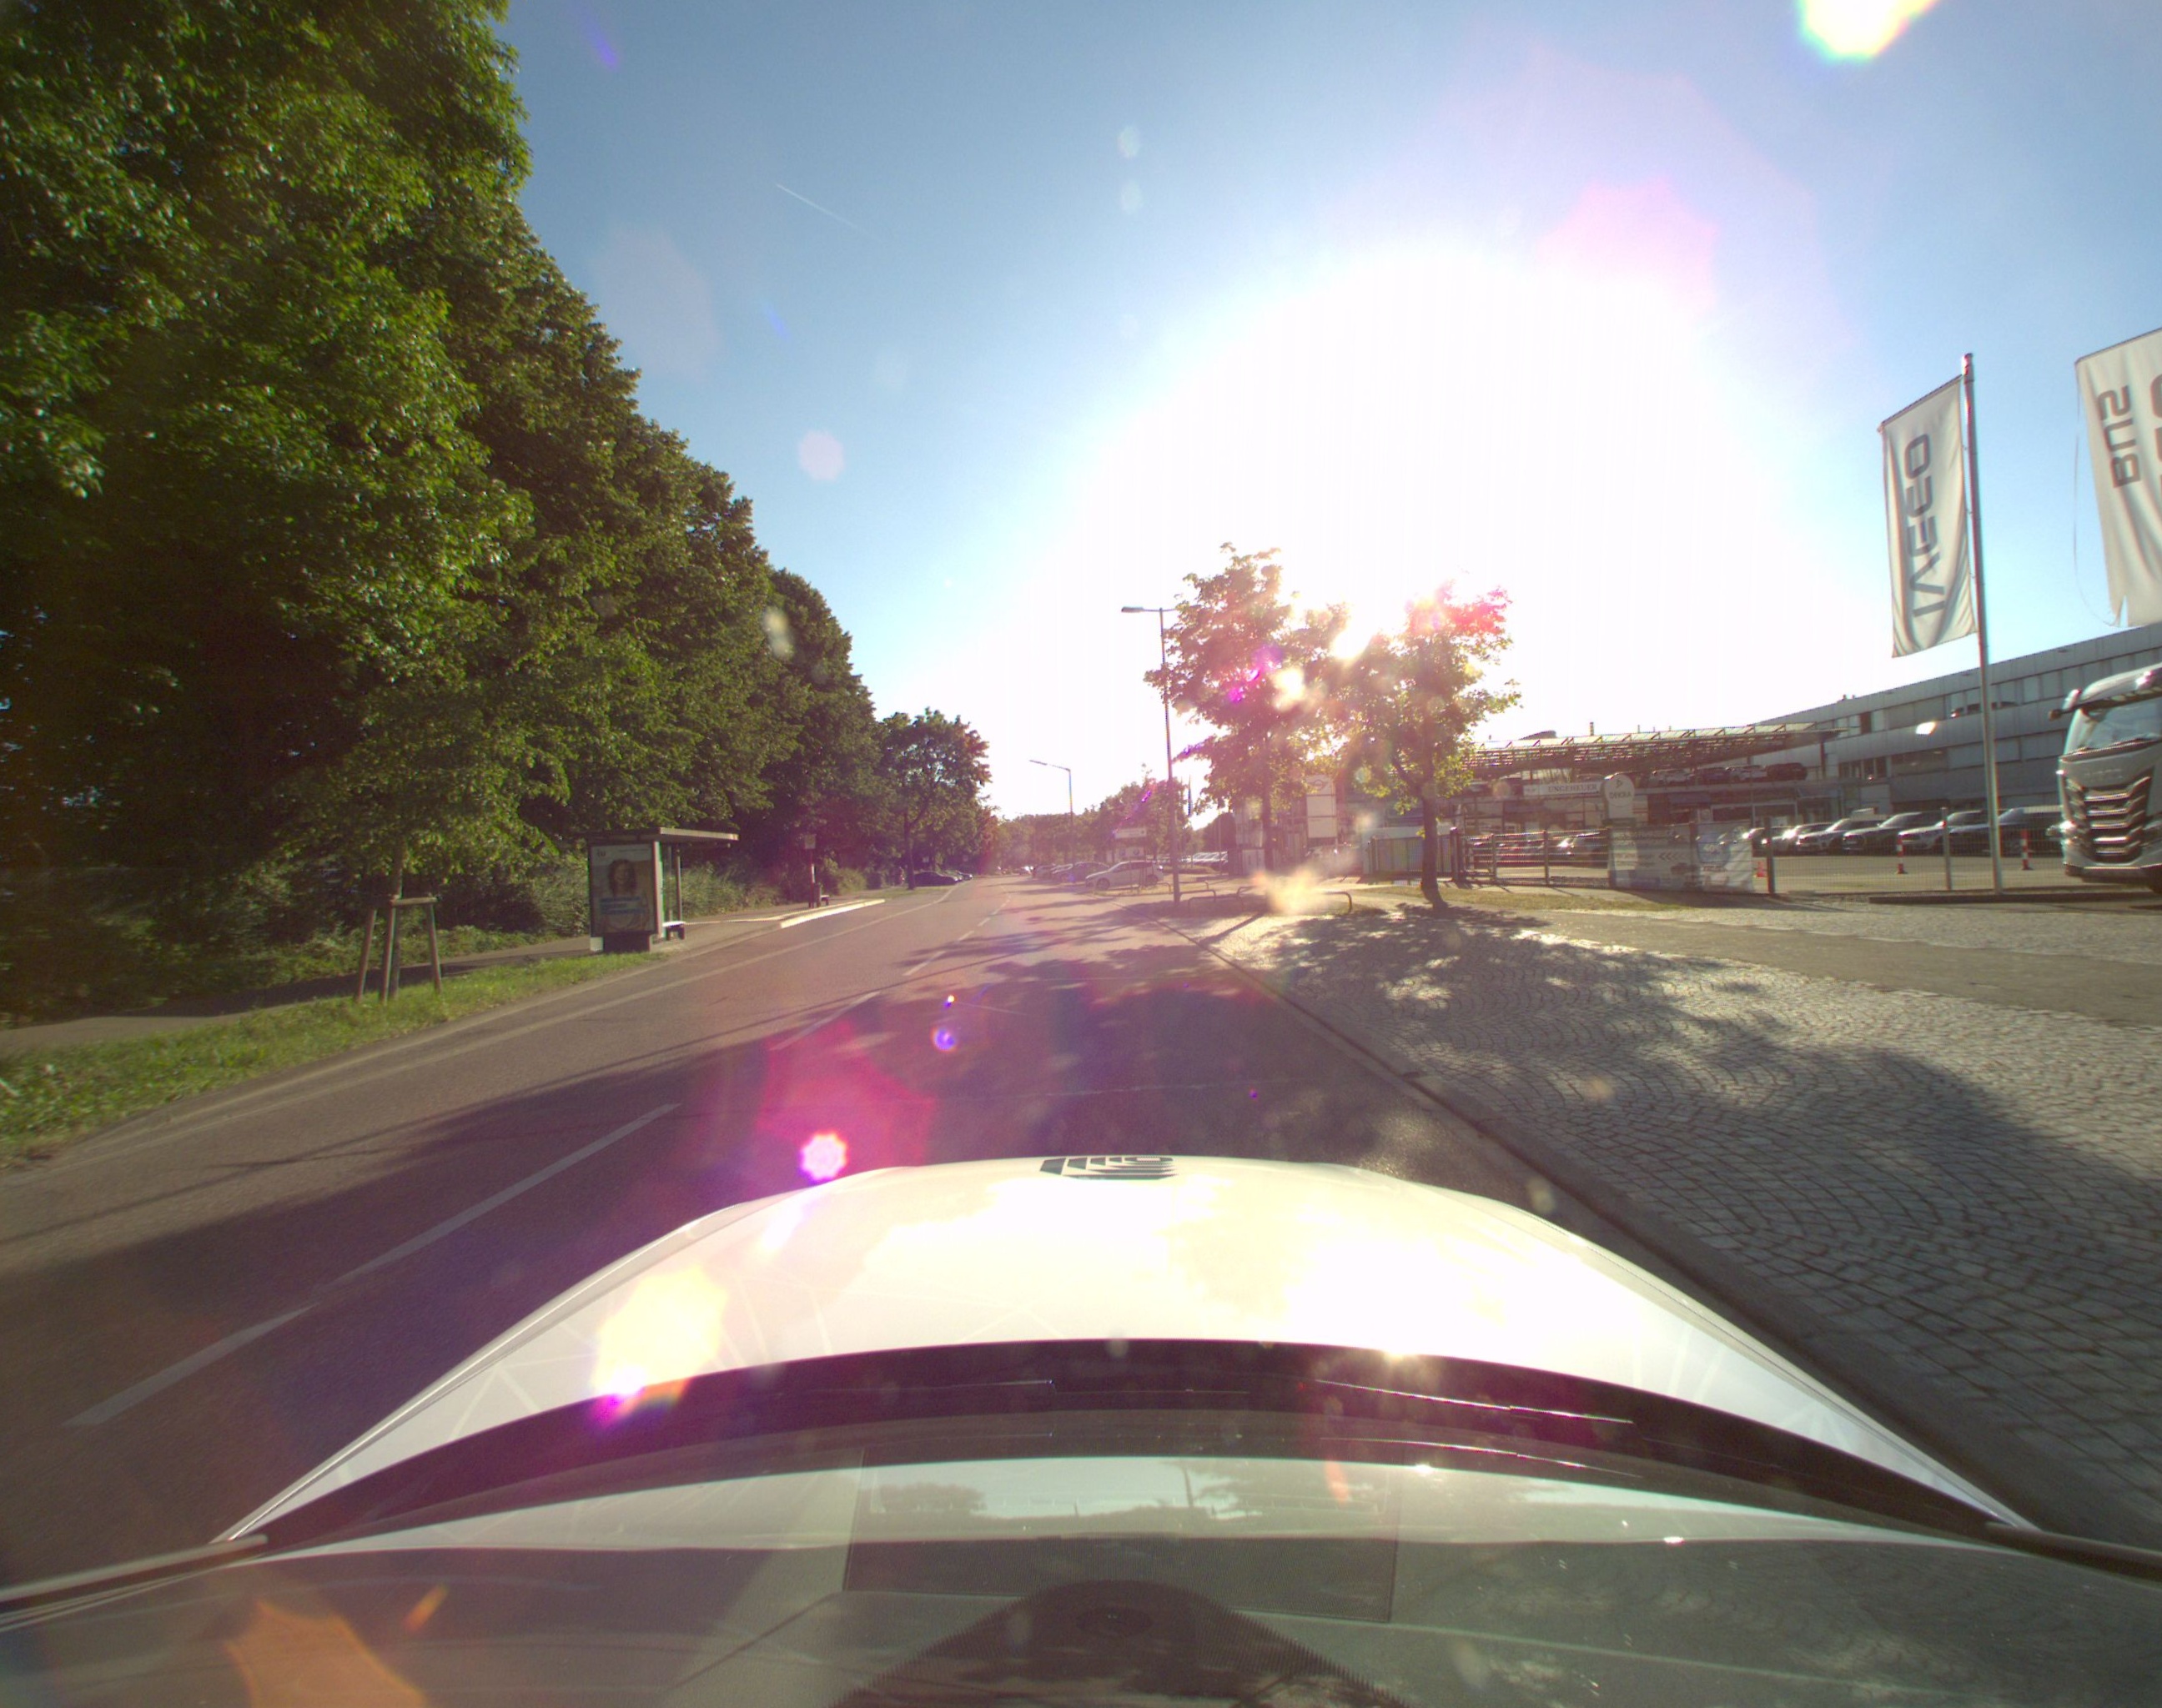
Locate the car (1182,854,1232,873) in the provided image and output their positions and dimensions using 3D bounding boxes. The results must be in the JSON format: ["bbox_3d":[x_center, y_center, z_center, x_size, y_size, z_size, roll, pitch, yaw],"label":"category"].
[{"bbox_3d":[12.298,0.936,79.283,4.622,1.574,1.979,-3,-1,-33],"label":"car"}]

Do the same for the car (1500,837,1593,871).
[{"bbox_3d":[25.614,0.030,44.946,3.959,1.579,2.007,-3,-4,13],"label":"car"}]

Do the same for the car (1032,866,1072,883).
[{"bbox_3d":[-3.461,2.476,97.800,4.682,1.751,2.190,-3,-1,-2],"label":"car"}]

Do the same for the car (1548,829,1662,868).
[{"bbox_3d":[24.143,-0.238,37.676,3.962,1.530,1.930,-3,-1,10],"label":"car"}]

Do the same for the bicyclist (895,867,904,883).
[{"bbox_3d":[-18.258,2.127,81.936,0.730,1.530,0.949,-3,-1,-6],"label":"bicyclist"}]

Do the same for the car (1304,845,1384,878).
[{"bbox_3d":[14.527,0.443,45.204,3.959,1.578,2.007,-3,-1,13],"label":"car"}]

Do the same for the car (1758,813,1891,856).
[{"bbox_3d":[33.565,-0.850,36.887,3.959,1.579,1.911,-3,-4,13],"label":"car"}]

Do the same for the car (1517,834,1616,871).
[{"bbox_3d":[25.311,-0.040,42.620,3.959,1.579,2.007,-3,-4,13],"label":"car"}]

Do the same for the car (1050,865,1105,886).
[{"bbox_3d":[-0.327,1.881,71.583,4.620,1.456,1.995,-4,-1,-7],"label":"car"}]

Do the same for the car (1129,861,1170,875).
[{"bbox_3d":[8.765,1.778,104.291,4.727,1.464,2.013,-4,-2,35],"label":"car"}]

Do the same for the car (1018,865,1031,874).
[{"bbox_3d":[-10.844,2.932,156.718,1.987,1.717,4.000,-2,-1,1],"label":"car"}]

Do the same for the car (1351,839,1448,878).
[{"bbox_3d":[14.922,0.236,38.349,3.959,1.578,2.007,-3,-1,13],"label":"car"}]

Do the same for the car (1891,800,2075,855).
[{"bbox_3d":[32.661,-0.923,29.634,3.959,1.579,2.007,-3,-4,13],"label":"car"}]

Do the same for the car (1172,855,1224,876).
[{"bbox_3d":[11.837,1.132,82.357,4.747,1.690,2.386,-4,-1,-33],"label":"car"}]

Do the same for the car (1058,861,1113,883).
[{"bbox_3d":[0.339,1.530,68.725,4.372,1.479,1.995,-4,-1,-7],"label":"car"}]

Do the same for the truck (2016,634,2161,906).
[{"bbox_3d":[18.184,-1.332,9.941,8.147,3.522,3.135,-4,-1,30],"label":"truck"}]

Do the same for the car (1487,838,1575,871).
[{"bbox_3d":[25.993,0.039,47.150,3.959,1.579,2.007,-3,-4,13],"label":"car"}]

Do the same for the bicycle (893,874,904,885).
[{"bbox_3d":[-18.397,2.598,82.178,0.764,1.039,2.212,-3,-1,-6],"label":"bicycle"}]

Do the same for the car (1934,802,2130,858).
[{"bbox_3d":[32.091,-0.814,27.615,3.959,1.578,1.855,-3,1,13],"label":"car"}]

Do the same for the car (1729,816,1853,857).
[{"bbox_3d":[34.045,-0.823,39.171,3.959,1.579,1.911,-3,-4,13],"label":"car"}]

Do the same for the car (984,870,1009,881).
[{"bbox_3d":[-18.232,4.693,176.327,4.987,2.020,2.175,-3,-1,1],"label":"car"}]

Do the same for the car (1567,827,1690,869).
[{"bbox_3d":[23.684,-0.253,35.374,3.962,1.530,1.930,-3,-1,10],"label":"car"}]

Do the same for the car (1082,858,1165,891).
[{"bbox_3d":[2.305,1.122,44.680,4.196,1.444,2.082,-4,-1,-8],"label":"car"}]

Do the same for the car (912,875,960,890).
[{"bbox_3d":[-14.357,2.803,80.899,4.646,1.422,1.911,-1,-1,-9],"label":"car"}]

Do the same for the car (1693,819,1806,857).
[{"bbox_3d":[34.320,-0.803,41.936,3.959,1.579,1.911,-3,-4,13],"label":"car"}]

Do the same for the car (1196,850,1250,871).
[{"bbox_3d":[12.826,0.572,73.301,4.623,1.574,1.979,-3,-1,-33],"label":"car"}]

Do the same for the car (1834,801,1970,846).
[{"bbox_3d":[38.063,-1.379,37.876,3.963,1.741,2.005,-3,-1,9],"label":"car"}]

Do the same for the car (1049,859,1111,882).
[{"bbox_3d":[-0.085,1.303,64.608,4.590,1.584,1.993,-3,-1,-9],"label":"car"}]

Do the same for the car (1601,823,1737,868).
[{"bbox_3d":[23.724,-0.316,32.992,3.962,1.530,1.930,-3,-1,10],"label":"car"}]

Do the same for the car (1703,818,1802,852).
[{"bbox_3d":[39.632,-1.100,48.137,3.963,1.741,2.005,-3,-1,9],"label":"car"}]

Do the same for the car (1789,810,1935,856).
[{"bbox_3d":[33.124,-0.873,34.664,3.959,1.579,1.911,-3,-4,13],"label":"car"}]

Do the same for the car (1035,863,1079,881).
[{"bbox_3d":[-2.675,1.968,90.174,4.690,1.478,1.996,-4,4,-7],"label":"car"}]

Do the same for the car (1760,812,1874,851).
[{"bbox_3d":[38.874,-1.167,43.128,3.963,1.741,2.005,-3,-1,9],"label":"car"}]

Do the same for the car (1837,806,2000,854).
[{"bbox_3d":[32.802,-0.917,32.029,3.959,1.578,2.007,-3,-1,13],"label":"car"}]

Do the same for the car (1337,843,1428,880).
[{"bbox_3d":[15.024,0.365,40.778,3.959,1.578,2.007,-3,-1,13],"label":"car"}]
